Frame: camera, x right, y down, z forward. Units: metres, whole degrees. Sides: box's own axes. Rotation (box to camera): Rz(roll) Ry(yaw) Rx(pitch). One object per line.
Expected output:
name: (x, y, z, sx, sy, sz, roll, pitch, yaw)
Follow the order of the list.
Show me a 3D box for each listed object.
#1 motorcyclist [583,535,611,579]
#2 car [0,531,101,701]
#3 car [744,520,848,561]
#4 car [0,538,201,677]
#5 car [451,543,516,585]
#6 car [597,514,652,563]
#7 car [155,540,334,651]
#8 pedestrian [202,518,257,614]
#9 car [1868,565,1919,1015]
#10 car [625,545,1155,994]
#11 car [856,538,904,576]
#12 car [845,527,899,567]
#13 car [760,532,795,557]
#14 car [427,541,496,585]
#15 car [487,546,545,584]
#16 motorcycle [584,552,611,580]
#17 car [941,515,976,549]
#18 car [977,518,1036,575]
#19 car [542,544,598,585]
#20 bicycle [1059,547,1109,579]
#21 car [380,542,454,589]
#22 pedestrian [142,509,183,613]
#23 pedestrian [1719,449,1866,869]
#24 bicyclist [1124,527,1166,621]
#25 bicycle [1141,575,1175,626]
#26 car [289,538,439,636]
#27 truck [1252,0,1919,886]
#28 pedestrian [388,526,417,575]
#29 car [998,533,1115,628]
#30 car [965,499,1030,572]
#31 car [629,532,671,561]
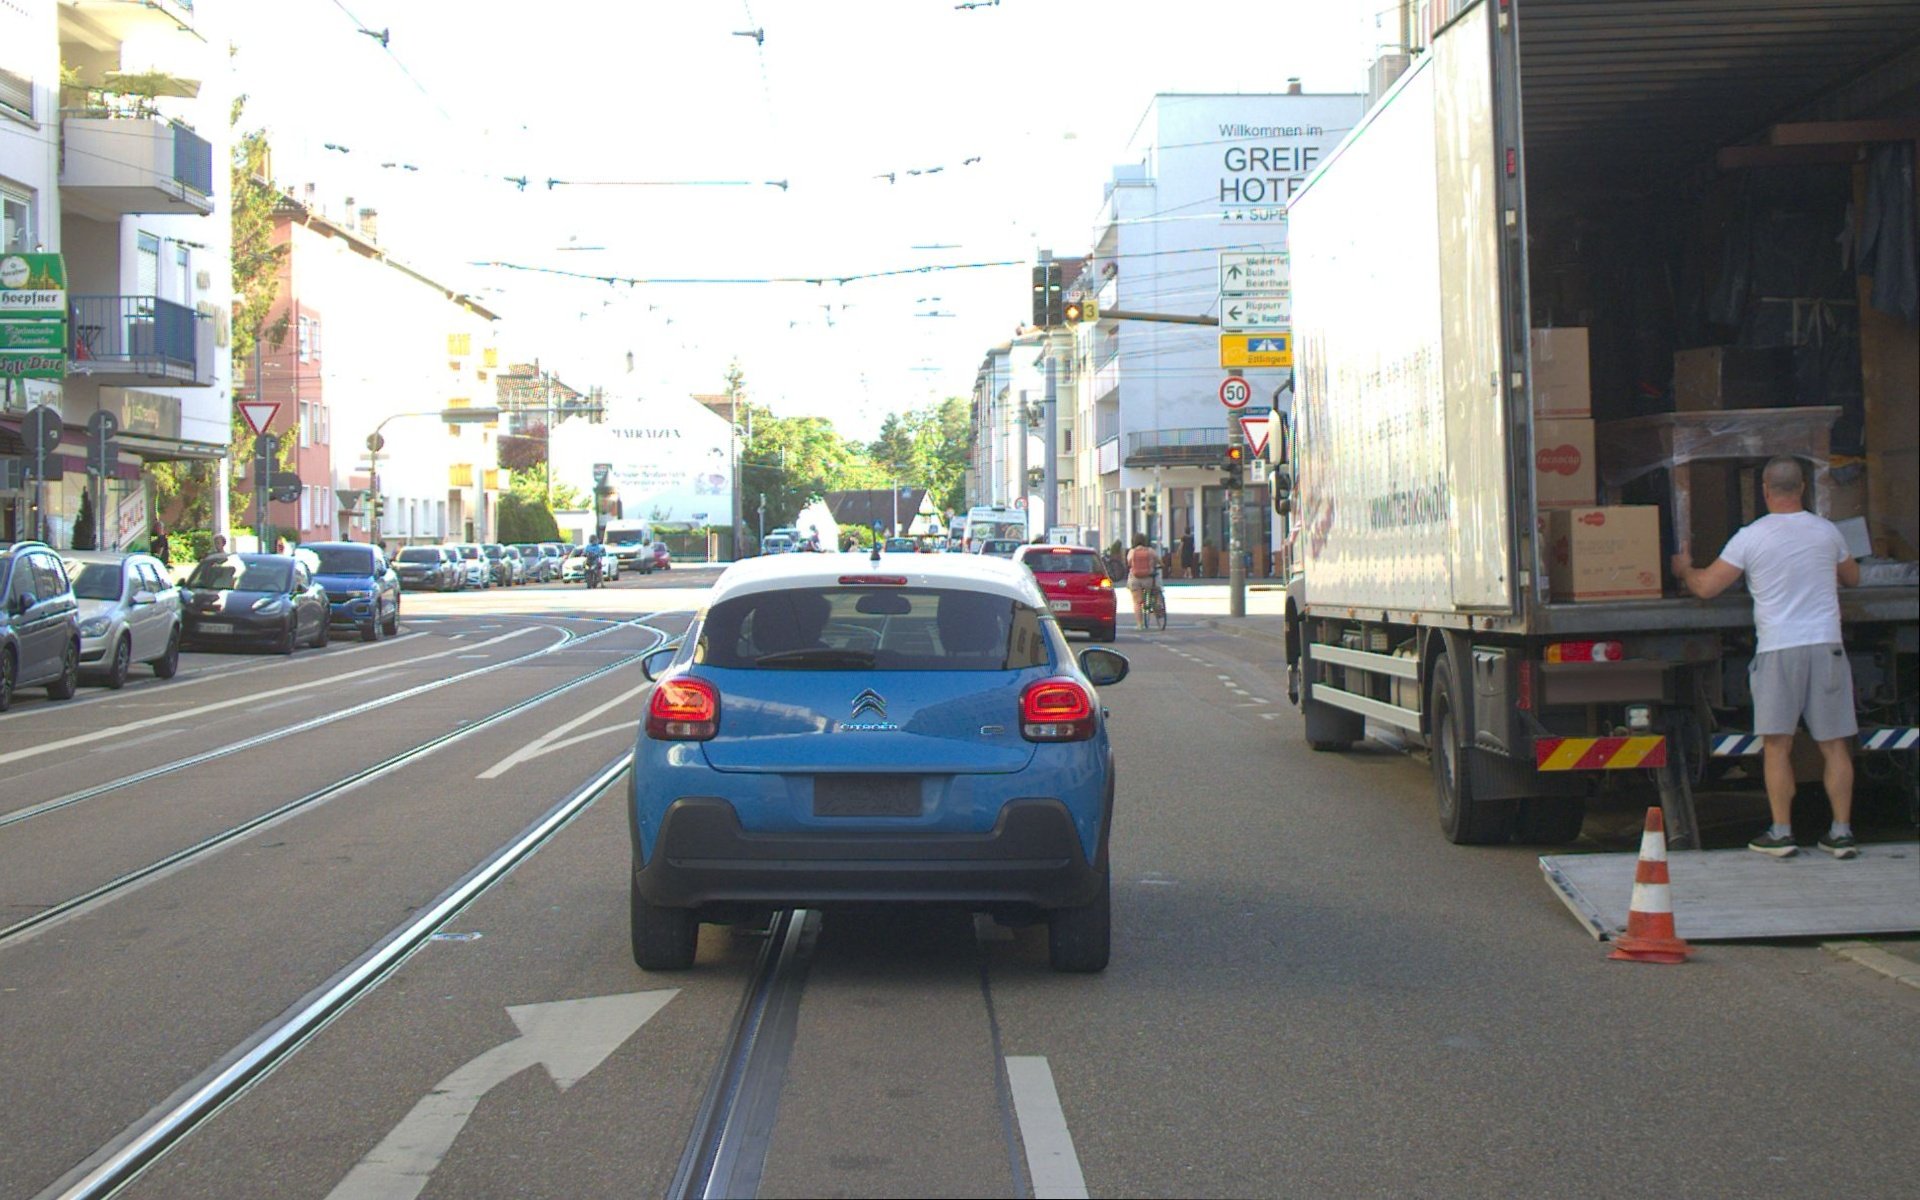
motorcyclist: (-11.384, -1.349, 107.808, 0.719, 1.373, 0.911, 0, 1, 3)
car: (-9.943, 0.118, 34.236, 1.699, 1.610, 4.244, 1, 0, 0)
car: (-6.550, -2.368, 137.115, 3.997, 1.634, 1.810, 0, 2, 42)
car: (-10.143, 0.057, 40.030, 1.699, 1.504, 4.387, 1, 0, -1)
car: (-17.585, -1.351, 126.996, 1.911, 1.492, 4.000, 0, 1, -2)
car: (-15.601, -2.886, 160.166, 2.207, 2.243, 4.677, 0, 1, -1)
car: (-10.359, -0.083, 50.056, 1.699, 1.504, 4.312, 1, 0, 0)
pedestrian: (-11.873, -0.552, 55.854, 0.697, 1.543, 0.721, 0, 2, 3)
car: (3.940, 0.632, 9.729, 1.582, 1.458, 3.881, -2, 1, -2)
car: (-0.354, 0.537, 13.460, 1.743, 1.457, 4.001, 1, 1, -4)
car: (-3.446, -1.852, 147.998, 1.993, 1.612, 4.000, 1, 1, -1)
car: (-3.322, -2.039, 130.958, 1.993, 1.503, 4.000, 0, 1, -1)
car: (-11.122, -3.380, 210.198, 2.021, 1.520, 4.000, 0, 1, -1)
car: (-17.411, -1.311, 120.195, 1.911, 1.492, 4.000, 0, 1, -2)
car: (-17.900, -1.429, 138.739, 1.911, 1.492, 4.000, 0, 1, -2)
motorcycle: (-11.386, -1.065, 107.968, 0.615, 0.861, 1.671, 0, 1, 3)
car: (-0.072, -3.386, 171.530, 1.689, 1.612, 4.000, 1, 1, 0)
car: (1.445, -1.676, 107.535, 1.732, 1.744, 3.214, 1, 1, -1)
car: (-15.332, -1.415, 135.162, 1.849, 1.568, 4.401, 0, 1, -2)
bicycle: (3.808, -1.134, 105.882, 1.504, 0.953, 0.701, 0, 1, 4)
car: (-17.337, -1.107, 109.829, 1.911, 1.428, 4.001, -1, 1, -3)
pedestrian: (-15.358, -0.754, 66.235, 0.686, 2.007, 0.486, 0, 1, -3)
pedestrian: (3.564, 0.247, 14.735, 0.512, 1.769, 0.416, -1, 1, 0)
bicyclist: (3.227, -0.459, 60.004, 0.726, 1.640, 0.790, 0, 1, 2)
bicycle: (3.477, 0.004, 60.336, 0.498, 0.861, 1.749, 0, 1, 0)
car: (-9.720, -0.222, 56.321, 1.744, 1.504, 4.000, 1, 0, 0)
truck: (3.655, -0.942, 20.656, 2.860, 4.059, 11.779, -1, 1, 1)
pedestrian: (-19.187, -1.694, 118.322, 0.844, 1.684, 0.737, 0, 1, 5)
car: (1.525, -0.324, 53.474, 1.738, 1.415, 4.000, 0, 1, 2)
car: (1.214, -2.093, 112.463, 1.993, 2.317, 4.000, 1, 1, -1)
car: (-16.739, -2.905, 185.709, 2.021, 1.520, 4.000, 0, 1, -1)
